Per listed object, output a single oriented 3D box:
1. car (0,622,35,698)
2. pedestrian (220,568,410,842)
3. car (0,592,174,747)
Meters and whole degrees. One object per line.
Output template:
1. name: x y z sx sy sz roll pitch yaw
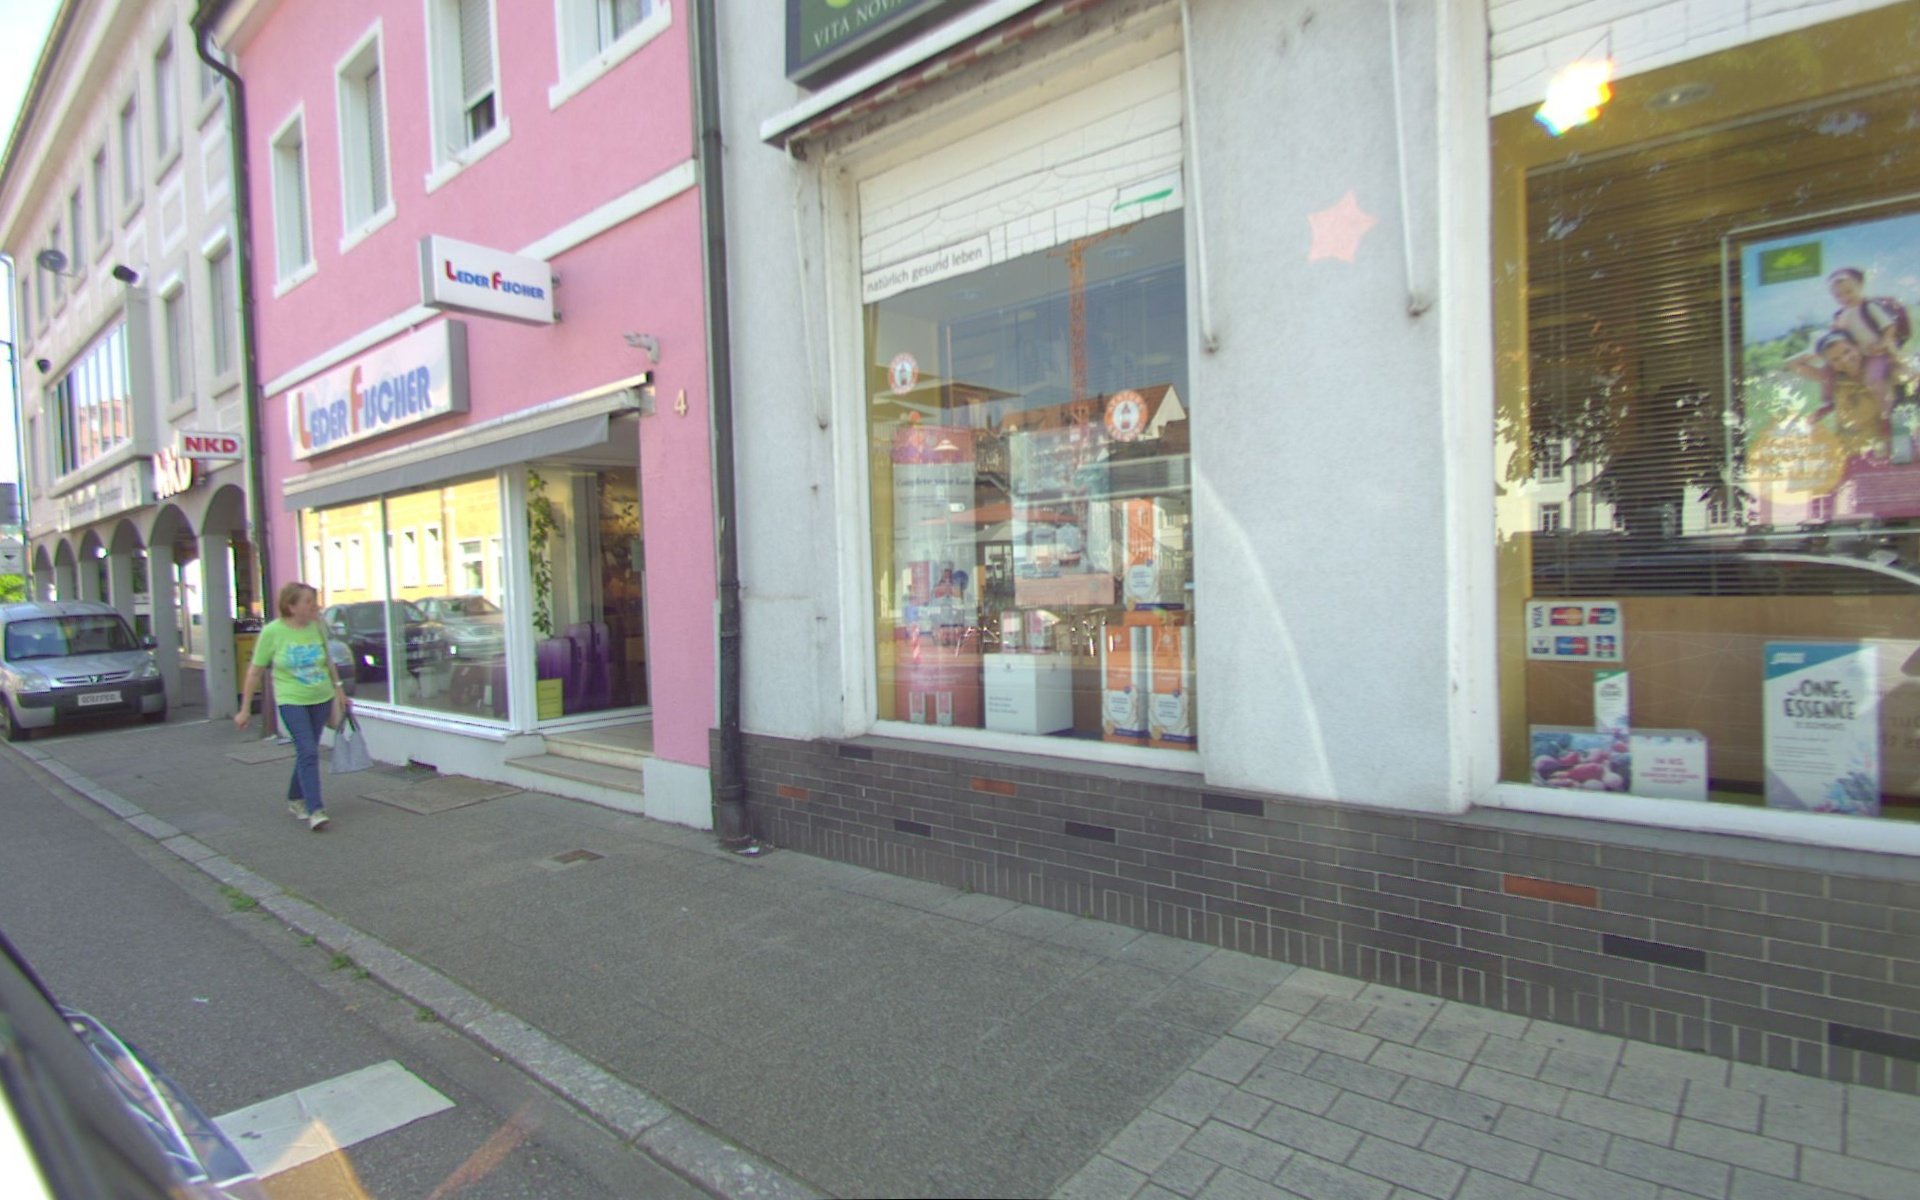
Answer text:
1. car: -20.947 1.282 21.265 4.454 1.481 1.784 -2 1 42
2. pedestrian: -4.317 0.646 6.774 0.859 1.644 0.777 -2 3 44
3. car: -12.572 0.882 14.072 4.143 1.752 1.689 -2 2 40
